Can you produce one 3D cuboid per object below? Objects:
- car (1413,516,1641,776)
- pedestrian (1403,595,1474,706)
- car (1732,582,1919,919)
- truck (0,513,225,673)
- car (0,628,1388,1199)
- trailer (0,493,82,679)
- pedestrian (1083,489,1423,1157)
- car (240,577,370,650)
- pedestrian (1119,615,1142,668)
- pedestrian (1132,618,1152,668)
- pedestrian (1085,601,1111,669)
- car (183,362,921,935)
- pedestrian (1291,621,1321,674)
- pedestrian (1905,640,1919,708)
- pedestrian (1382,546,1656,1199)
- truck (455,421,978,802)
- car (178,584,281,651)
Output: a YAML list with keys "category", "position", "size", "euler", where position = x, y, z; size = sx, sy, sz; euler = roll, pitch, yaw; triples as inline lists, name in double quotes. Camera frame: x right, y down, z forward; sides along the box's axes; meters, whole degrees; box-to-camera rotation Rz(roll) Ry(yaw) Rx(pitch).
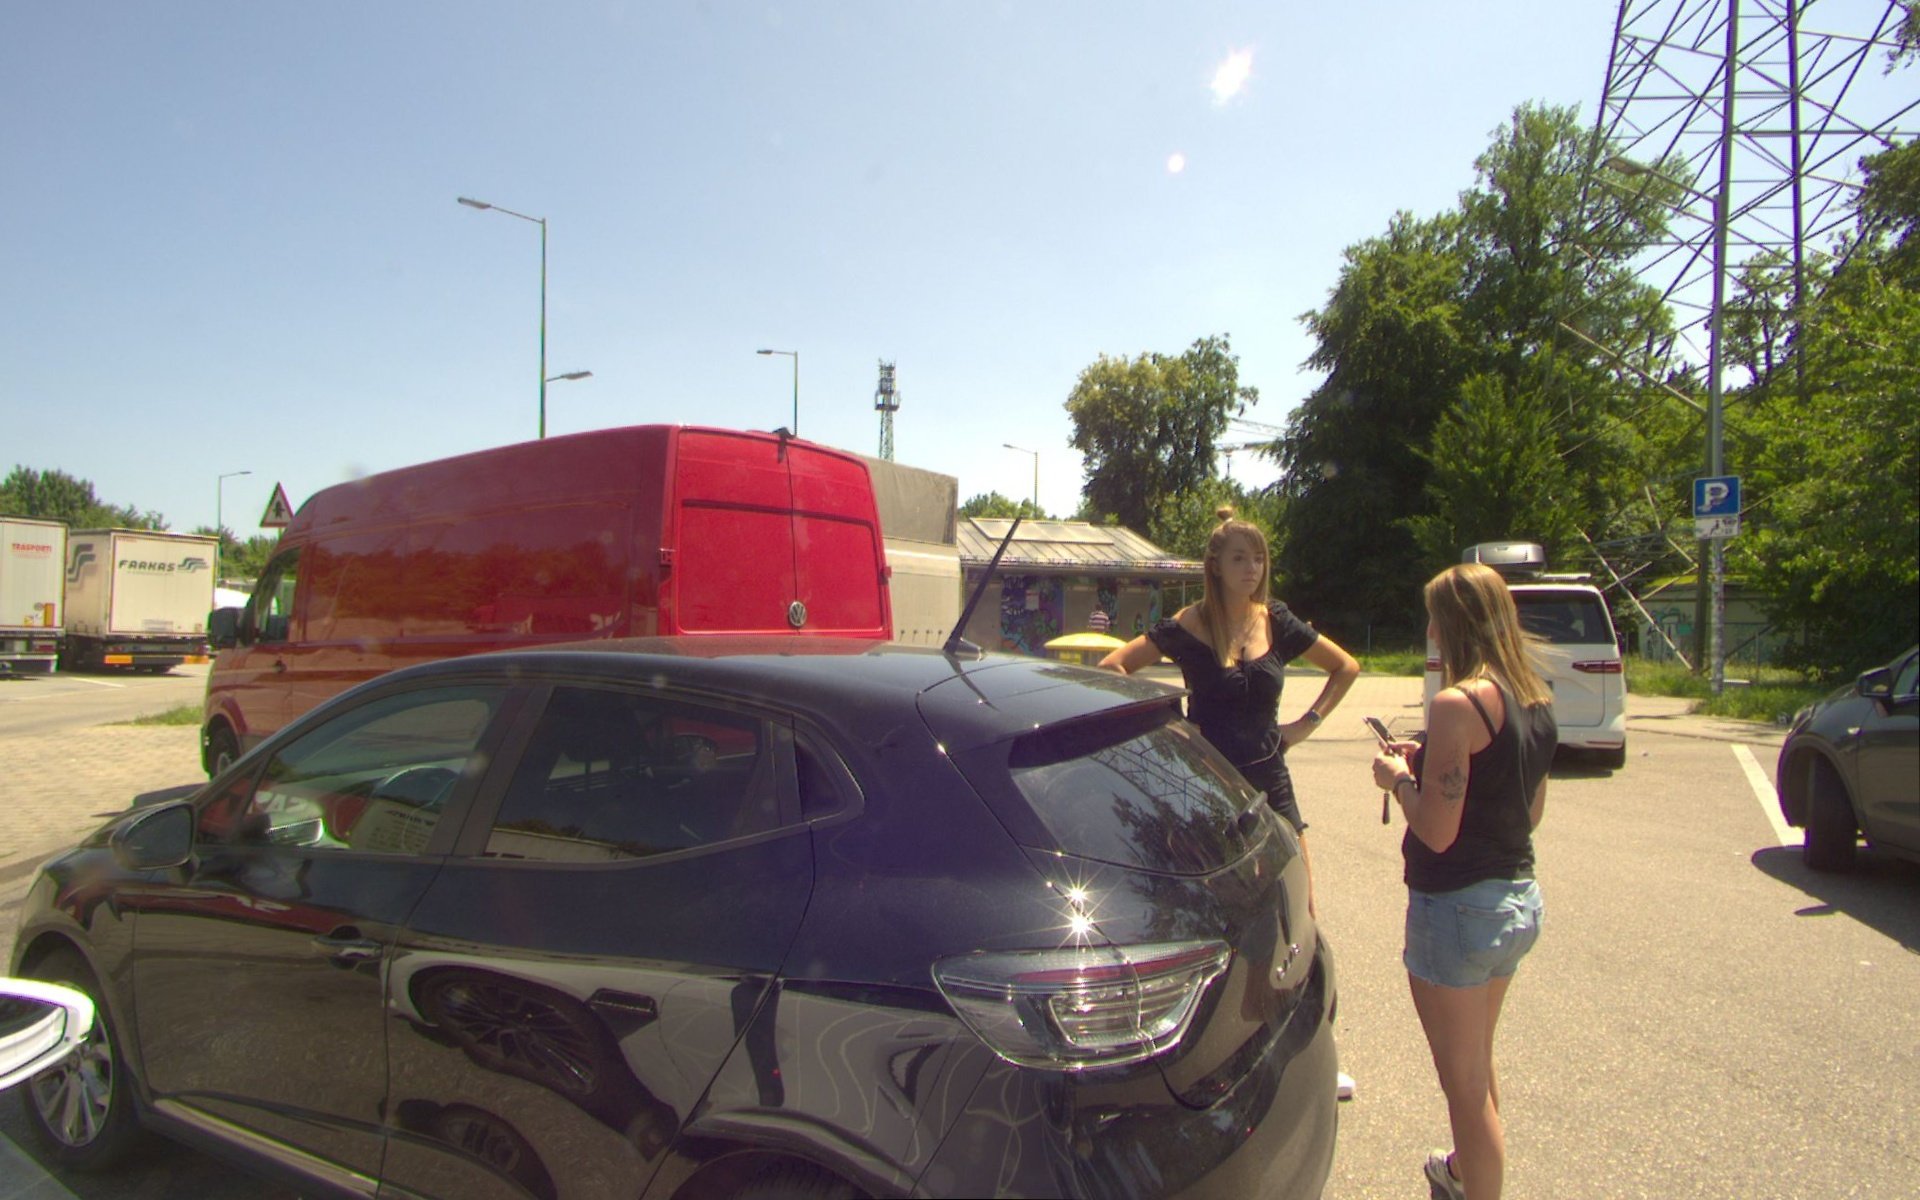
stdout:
- category: "car"
  position: [6.658, 0.490, 11.885]
  size: [1.901, 2.401, 4.954]
  euler: [1, -1, 29]
- category: "pedestrian"
  position: [8.406, 0.876, 17.623]
  size: [0.762, 1.903, 0.840]
  euler: [0, -1, -11]
- category: "car"
  position: [5.496, 0.735, 4.422]
  size: [1.805, 1.638, 4.164]
  euler: [1, -1, 15]
- category: "truck"
  position: [-27.051, -0.027, 31.179]
  size: [11.800, 4.279, 2.582]
  euler: [-1, -2, 32]
- category: "car"
  position: [-0.833, 0.833, 2.811]
  size: [3.628, 1.476, 1.776]
  euler: [-1, -2, 28]
- category: "trailer"
  position: [-28.604, -0.341, 27.880]
  size: [12.642, 4.511, 2.677]
  euler: [0, -1, 32]
- category: "pedestrian"
  position: [0.904, 0.640, 3.166]
  size: [0.896, 1.884, 0.487]
  euler: [1, 0, -13]
- category: "car"
  position: [-29.453, 0.598, 44.946]
  size: [6.259, 3.114, 2.495]
  euler: [0, -1, 32]
- category: "pedestrian"
  position: [4.823, 1.166, 28.291]
  size: [0.521, 1.478, 0.576]
  euler: [0, 0, 23]
- category: "pedestrian"
  position: [5.022, 1.181, 27.625]
  size: [0.439, 1.362, 0.477]
  euler: [0, 0, 23]
- category: "pedestrian"
  position: [3.656, 0.916, 26.418]
  size: [0.520, 1.783, 0.651]
  euler: [0, 0, 23]
- category: "car"
  position: [-3.375, 0.251, 7.335]
  size: [6.298, 2.668, 1.988]
  euler: [0, -1, 36]
- category: "pedestrian"
  position: [13.453, 1.846, 38.974]
  size: [0.955, 2.039, 0.829]
  euler: [0, -1, 10]
- category: "pedestrian"
  position: [17.126, 1.293, 17.446]
  size: [0.694, 1.178, 0.787]
  euler: [-1, -1, 22]
- category: "pedestrian"
  position: [1.242, 0.710, 2.260]
  size: [0.478, 1.615, 0.501]
  euler: [0, 0, 29]
- category: "truck"
  position: [-2.483, 0.173, 9.923]
  size: [4.751, 2.863, 2.514]
  euler: [-1, -2, 34]
- category: "car"
  position: [-29.924, 0.752, 41.028]
  size: [3.943, 2.632, 2.111]
  euler: [-1, -2, 32]
